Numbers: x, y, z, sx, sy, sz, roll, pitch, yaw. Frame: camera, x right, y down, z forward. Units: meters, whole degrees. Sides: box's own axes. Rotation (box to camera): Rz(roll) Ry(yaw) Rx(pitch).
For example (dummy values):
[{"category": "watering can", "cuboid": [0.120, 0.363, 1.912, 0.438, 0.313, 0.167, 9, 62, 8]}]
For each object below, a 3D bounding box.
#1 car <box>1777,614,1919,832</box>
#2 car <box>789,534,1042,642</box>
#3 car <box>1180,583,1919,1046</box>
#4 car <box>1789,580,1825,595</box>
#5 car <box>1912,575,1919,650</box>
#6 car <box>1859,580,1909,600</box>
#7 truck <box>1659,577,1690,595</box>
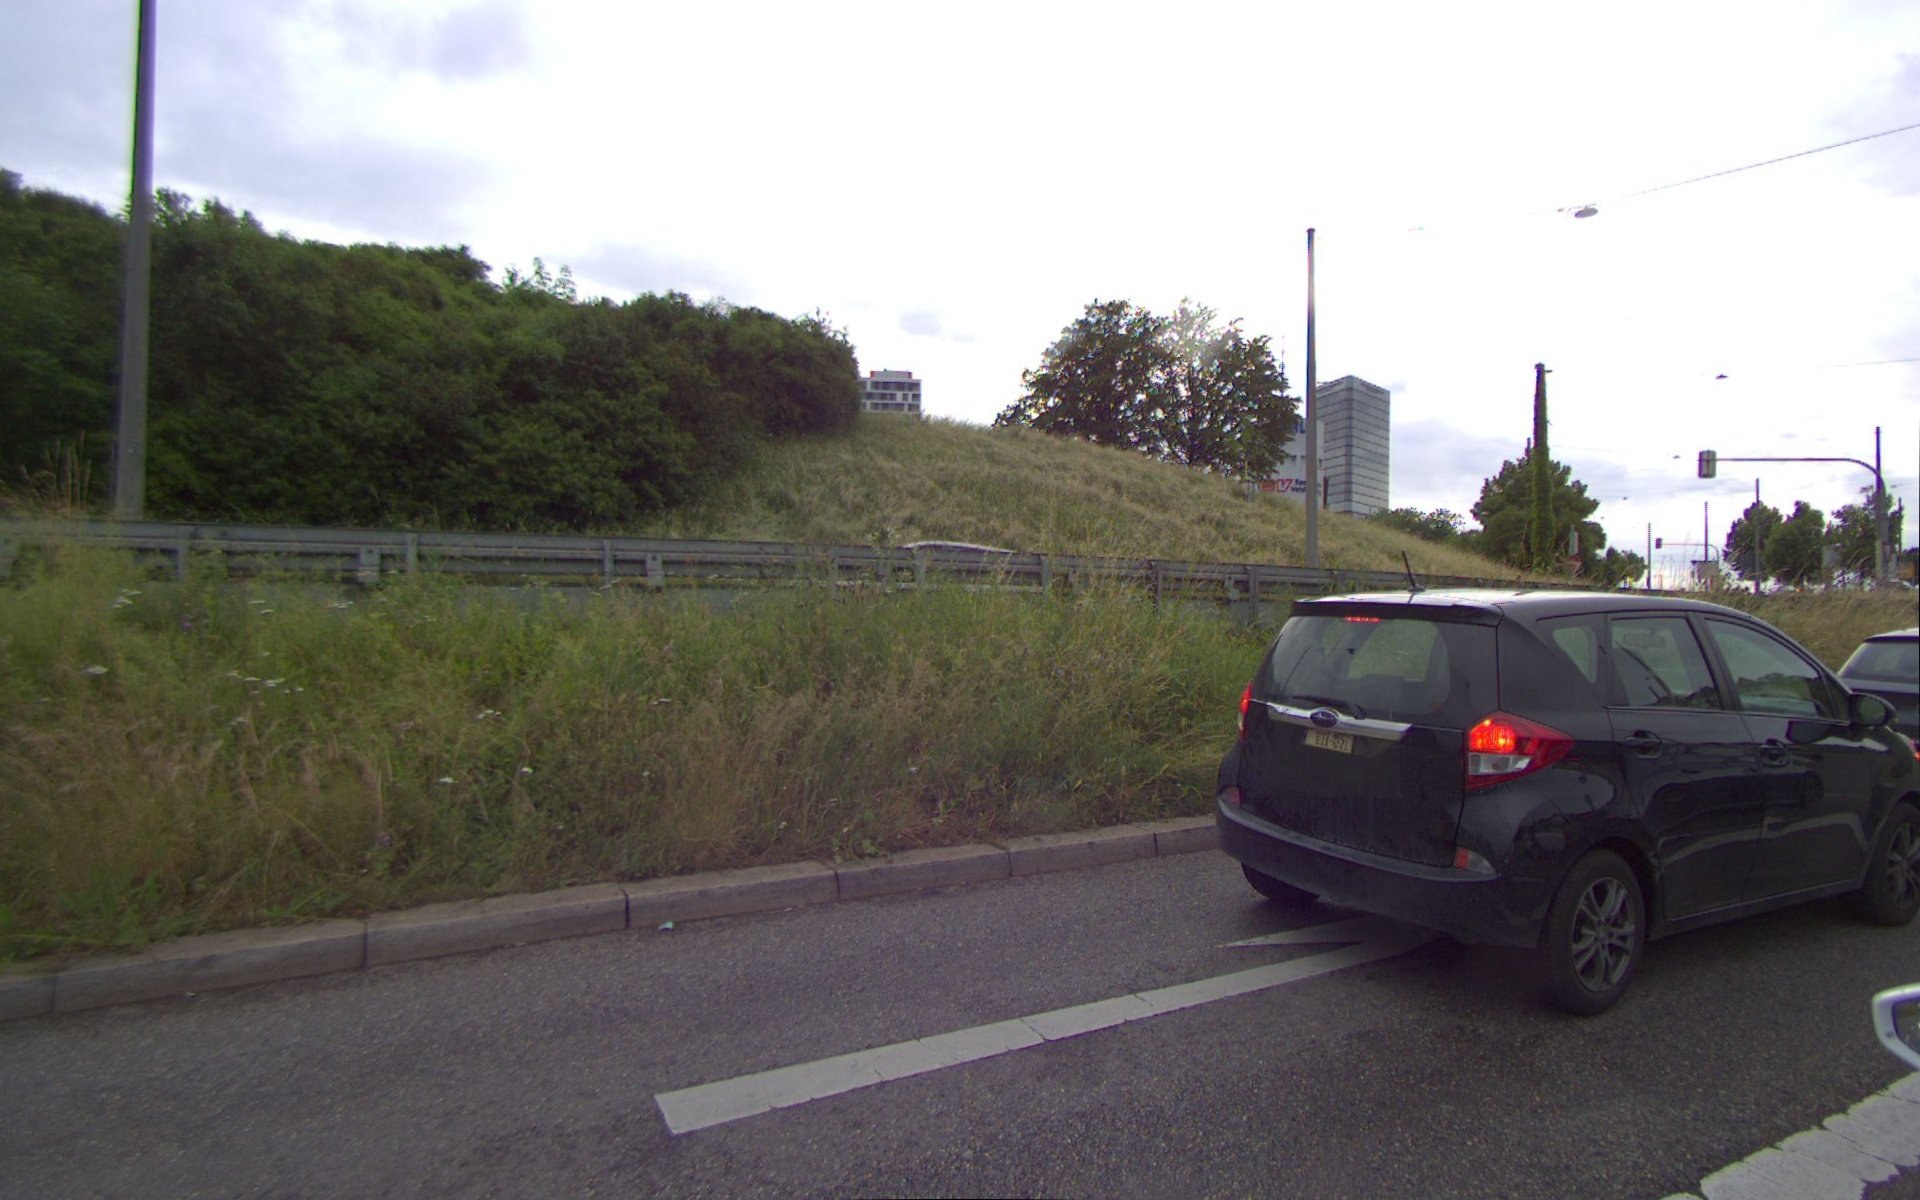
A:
[{"category": "car", "cuboid": [8.392, 0.872, 7.706, 4.058, 1.479, 1.698, 1, -1, -25]}, {"category": "car", "cuboid": [-0.685, -0.168, 15.926, 3.634, 1.537, 1.727, 1, 1, -30]}, {"category": "car", "cuboid": [3.082, 0.723, 4.921, 3.730, 1.524, 1.635, 1, 1, -28]}, {"category": "car", "cuboid": [96.072, -1.432, 113.965, 1.962, 1.497, 4.499, 2, -1, 25]}, {"category": "car", "cuboid": [25.903, 0.354, 23.687, 4.610, 1.874, 1.820, 2, 0, 26]}, {"category": "car", "cuboid": [83.924, -0.877, 91.309, 1.962, 1.658, 4.418, 2, -1, 23]}, {"category": "truck", "cuboid": [132.352, -2.698, 186.155, 3.205, 3.116, 6.172, 4, 3, 22]}]
